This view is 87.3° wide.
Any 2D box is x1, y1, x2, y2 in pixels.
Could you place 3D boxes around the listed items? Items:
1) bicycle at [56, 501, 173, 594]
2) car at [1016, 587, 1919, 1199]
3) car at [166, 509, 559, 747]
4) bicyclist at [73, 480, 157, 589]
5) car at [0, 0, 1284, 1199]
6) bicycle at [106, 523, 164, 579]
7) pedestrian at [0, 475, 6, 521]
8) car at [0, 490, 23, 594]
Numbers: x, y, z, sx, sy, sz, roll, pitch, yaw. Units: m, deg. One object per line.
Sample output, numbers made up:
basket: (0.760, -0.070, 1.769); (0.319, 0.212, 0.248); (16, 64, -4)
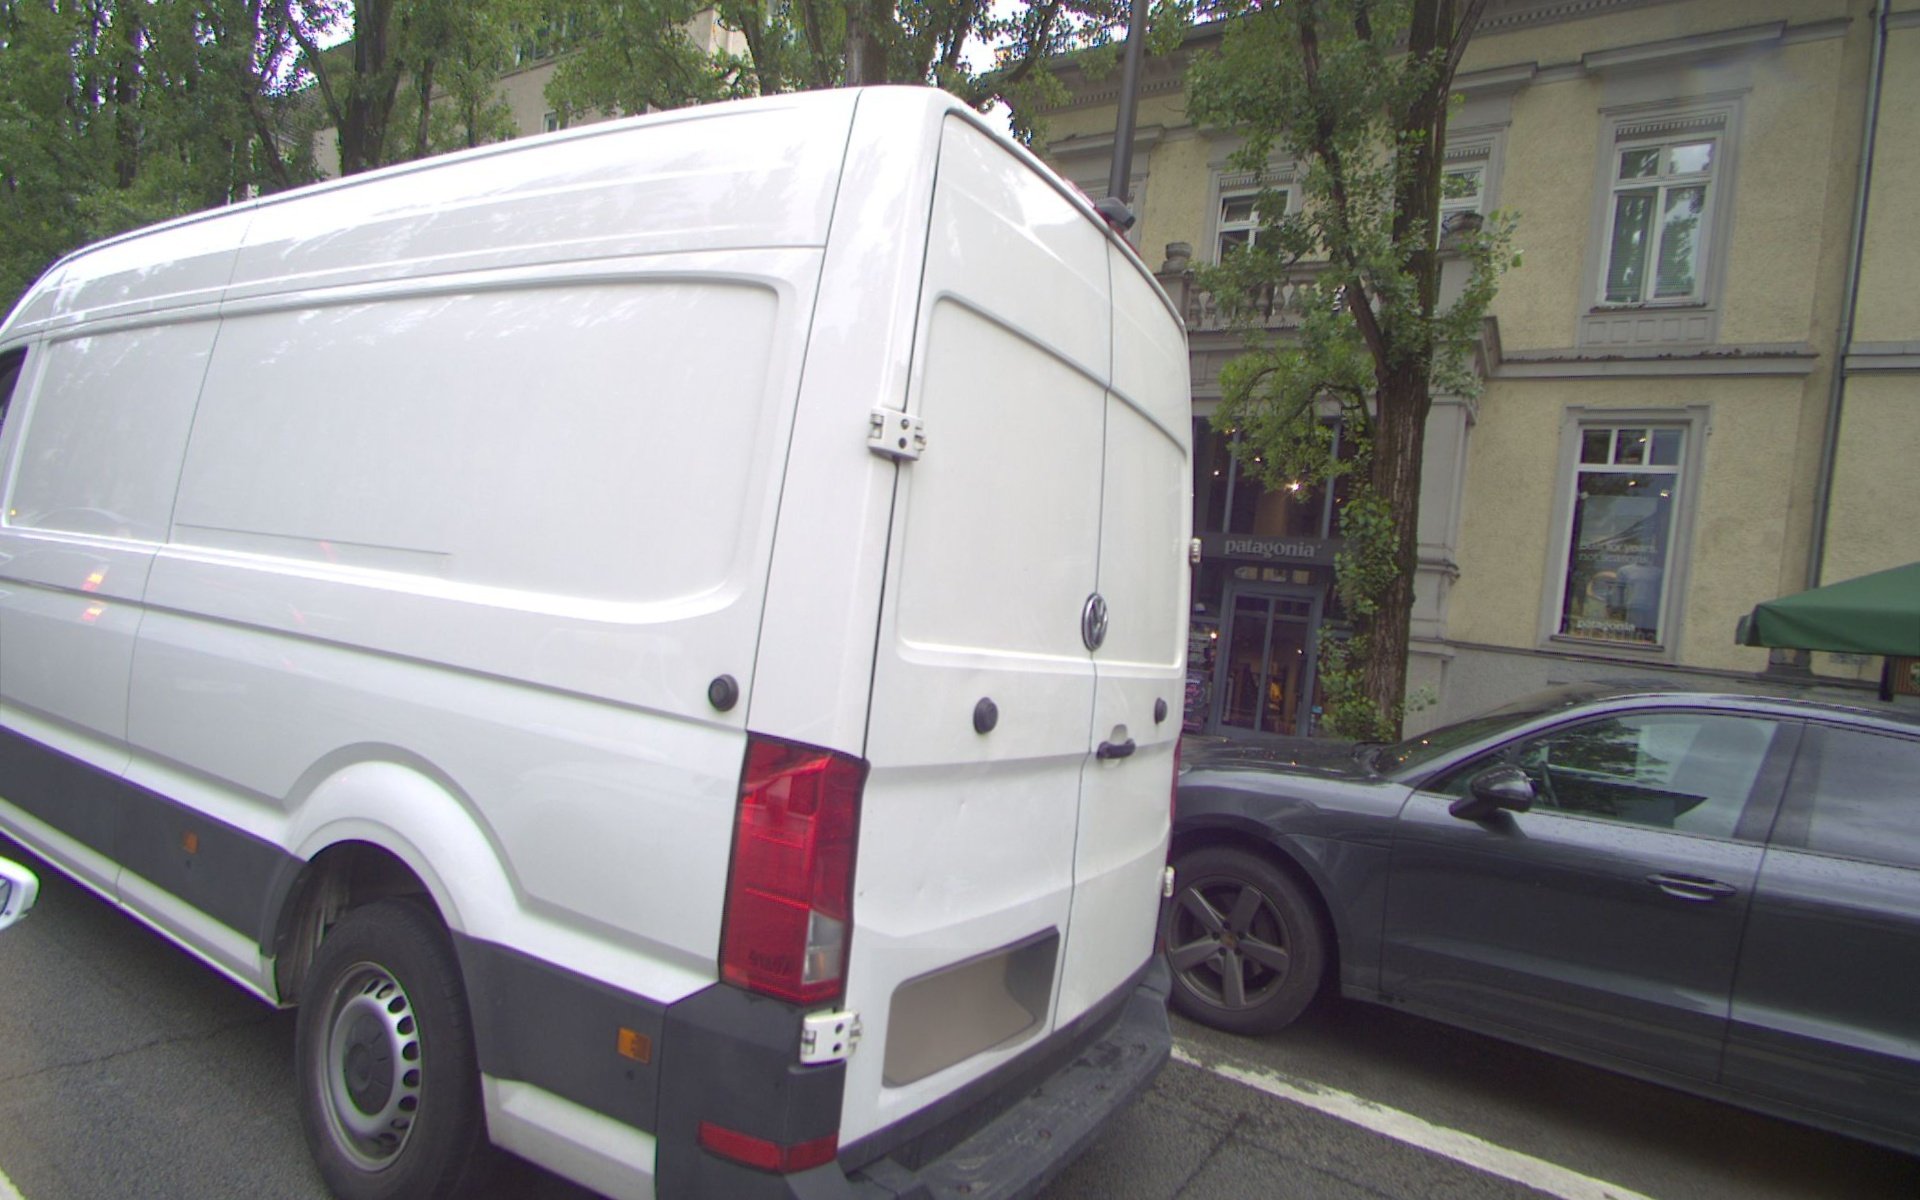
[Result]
bicycle: (-14.935, -0.940, 17.750); (2.408, 1.366, 0.773); (7, 1, 31)
car: (2.662, 1.065, 4.105); (4.372, 1.657, 1.807); (7, -1, 30)
car: (-5.027, 0.209, 8.476); (2.683, 1.536, 1.595); (7, -1, 30)
bicyclist: (-14.908, -1.149, 17.754); (0.870, 1.788, 0.768); (7, 1, 31)
car: (-2.439, 0.003, 4.077); (6.619, 2.522, 2.066); (7, 0, 32)
bicycle: (-16.858, -1.005, 20.547); (1.429, 1.009, 0.349); (6, 2, 28)
pedestrian: (-36.320, -3.850, 37.612); (0.745, 1.707, 0.674); (6, 1, 27)
car: (-15.959, -1.075, 15.335); (3.465, 1.510, 1.543); (7, -1, 33)
